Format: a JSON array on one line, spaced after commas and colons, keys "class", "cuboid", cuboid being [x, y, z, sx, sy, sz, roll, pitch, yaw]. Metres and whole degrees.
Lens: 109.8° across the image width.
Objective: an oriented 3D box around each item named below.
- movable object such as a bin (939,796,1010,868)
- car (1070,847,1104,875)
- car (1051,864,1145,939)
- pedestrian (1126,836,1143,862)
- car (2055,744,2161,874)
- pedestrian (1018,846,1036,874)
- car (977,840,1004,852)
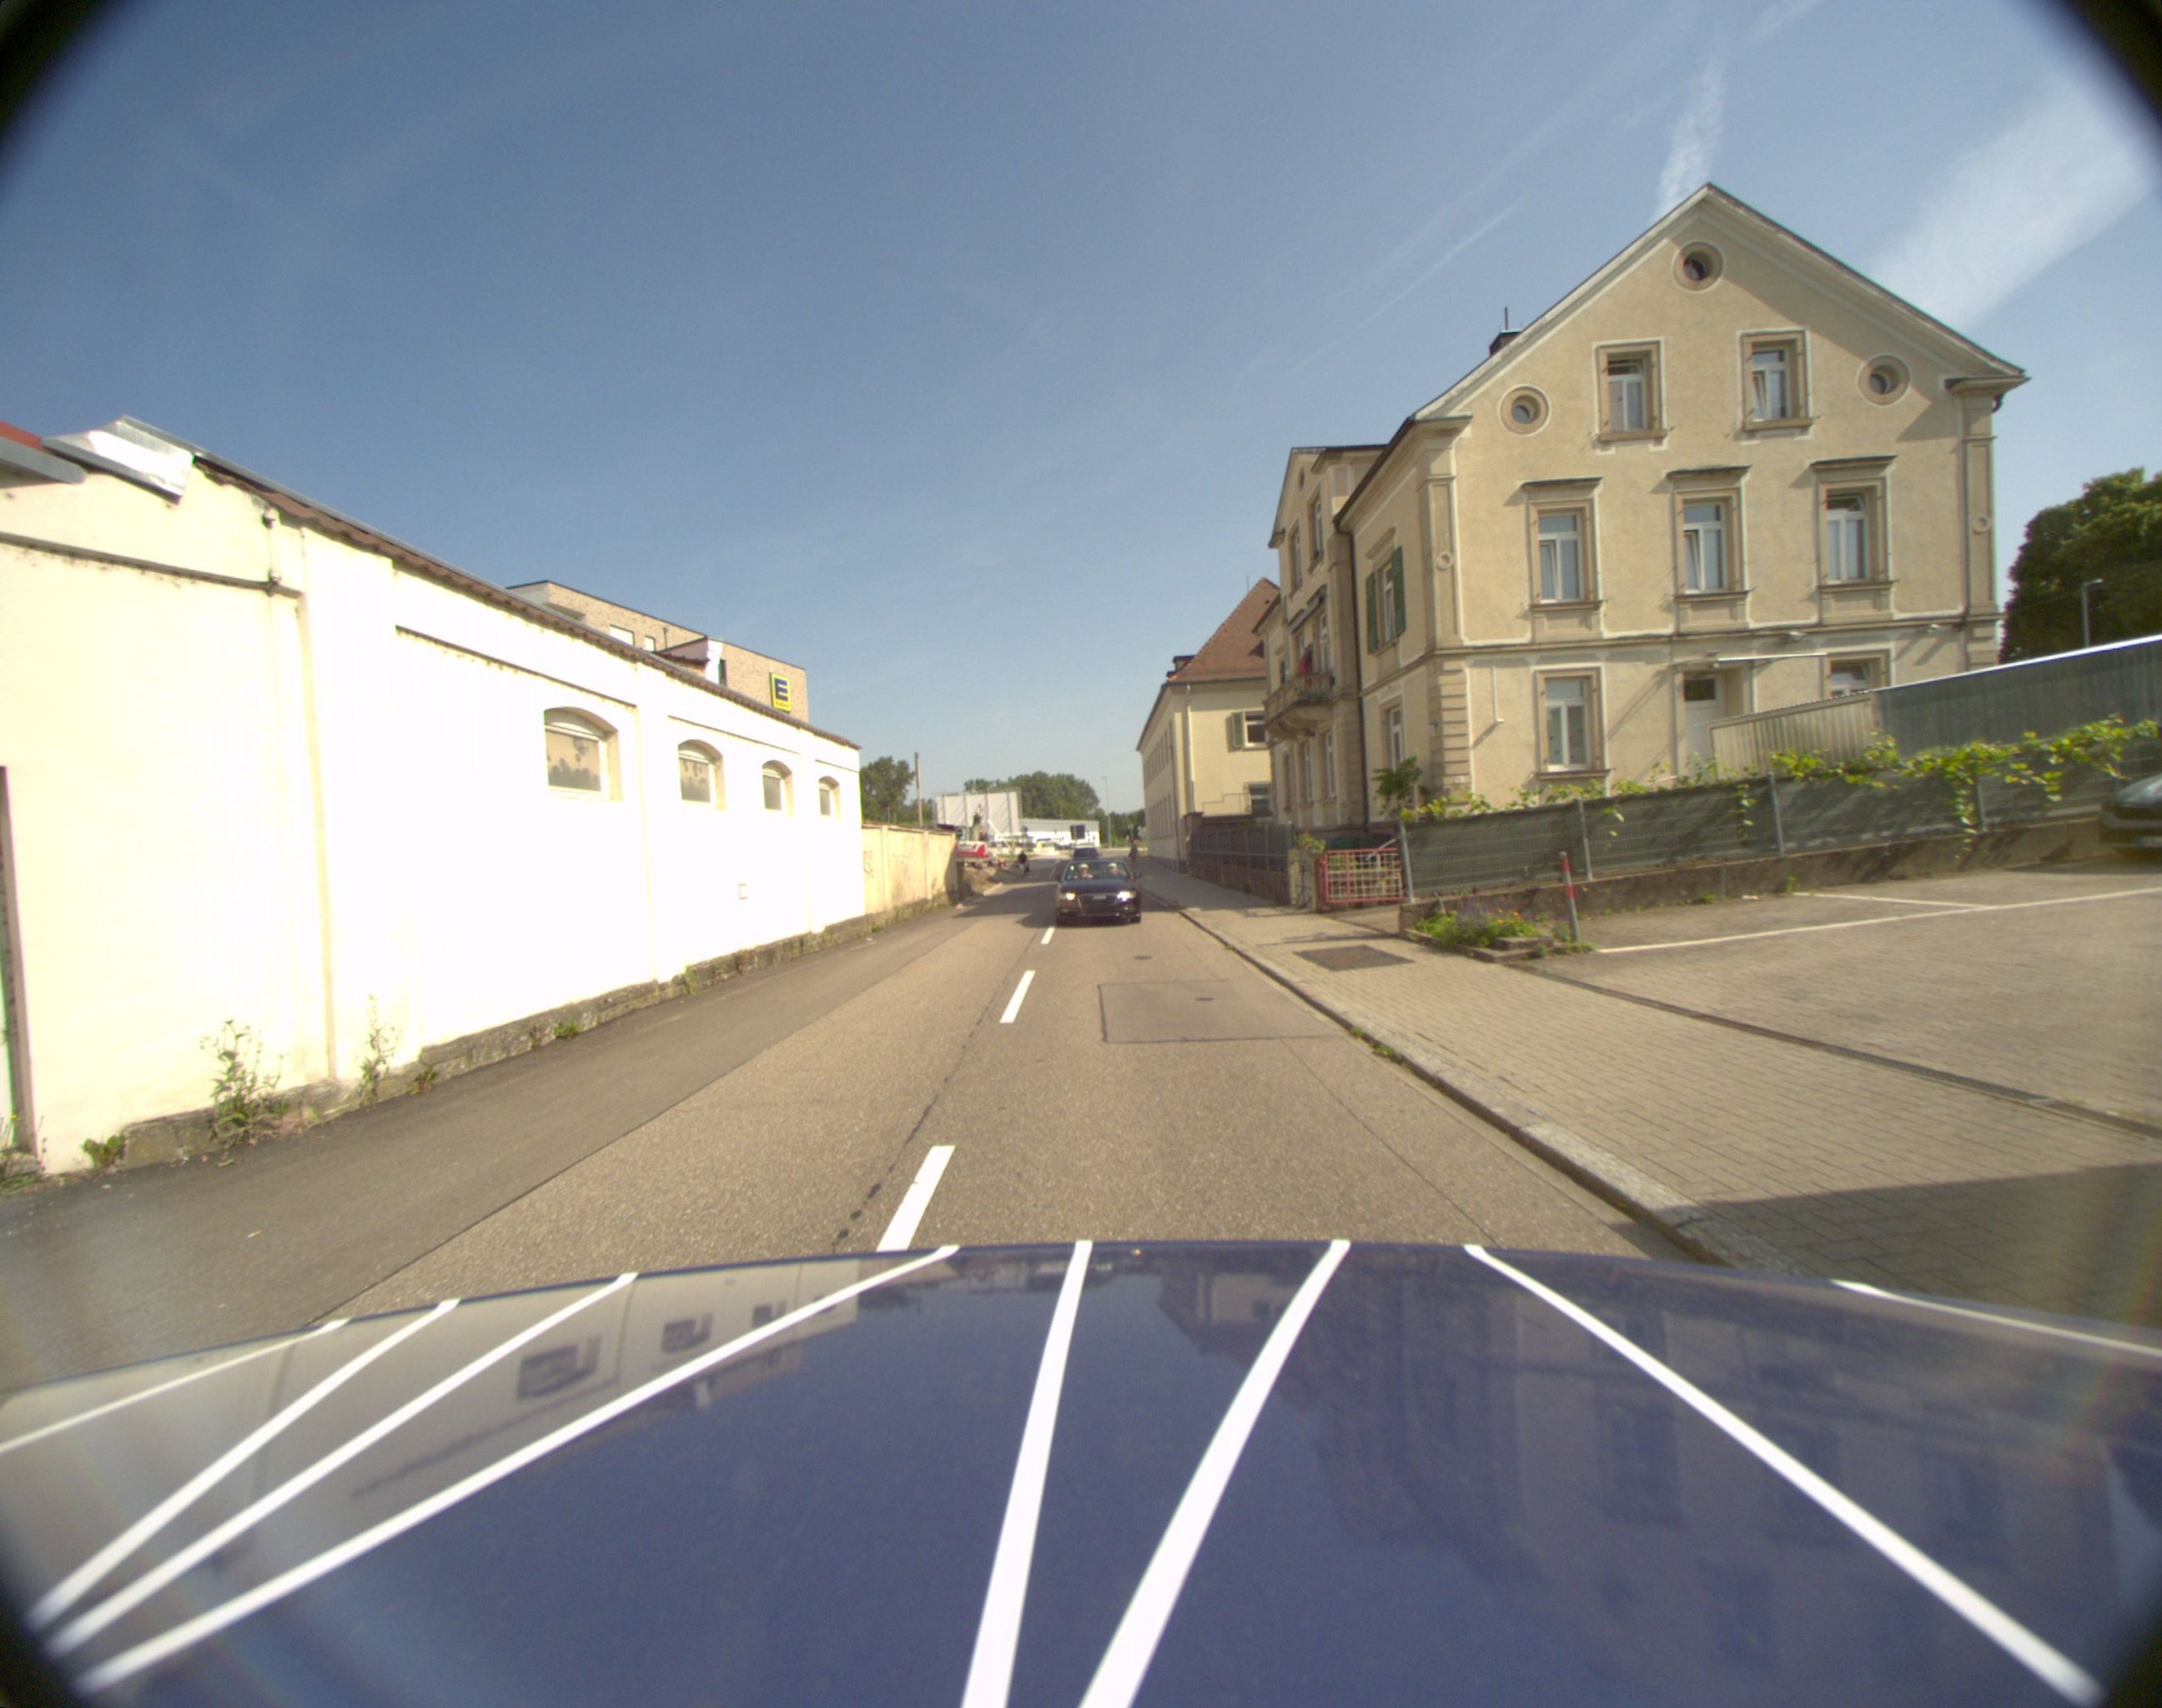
[{"class": "movable object such as a bin", "cuboid": [-6.377, -1.329, 46.647, 2.300, 3.832, 7.799, -5, 1, 5]}, {"class": "car", "cuboid": [0.412, 0.392, 46.391, 1.642, 1.385, 4.229, -3, 3, 5]}, {"class": "car", "cuboid": [0.383, 0.926, 16.417, 1.721, 1.314, 4.224, -2, 0, 2]}, {"class": "pedestrian", "cuboid": [3.527, -0.325, 50.224, 0.960, 1.622, 0.758, -4, 2, 1]}, {"class": "car", "cuboid": [14.128, -0.742, 8.652, 3.840, 1.408, 1.705, -8, 1, -1]}, {"class": "pedestrian", "cuboid": [-3.420, 0.397, 48.235, 0.890, 1.674, 0.718, -5, 2, 1]}, {"class": "car", "cuboid": [-14.565, -1.216, 122.451, 4.018, 1.565, 1.779, -5, 0, 3]}]
